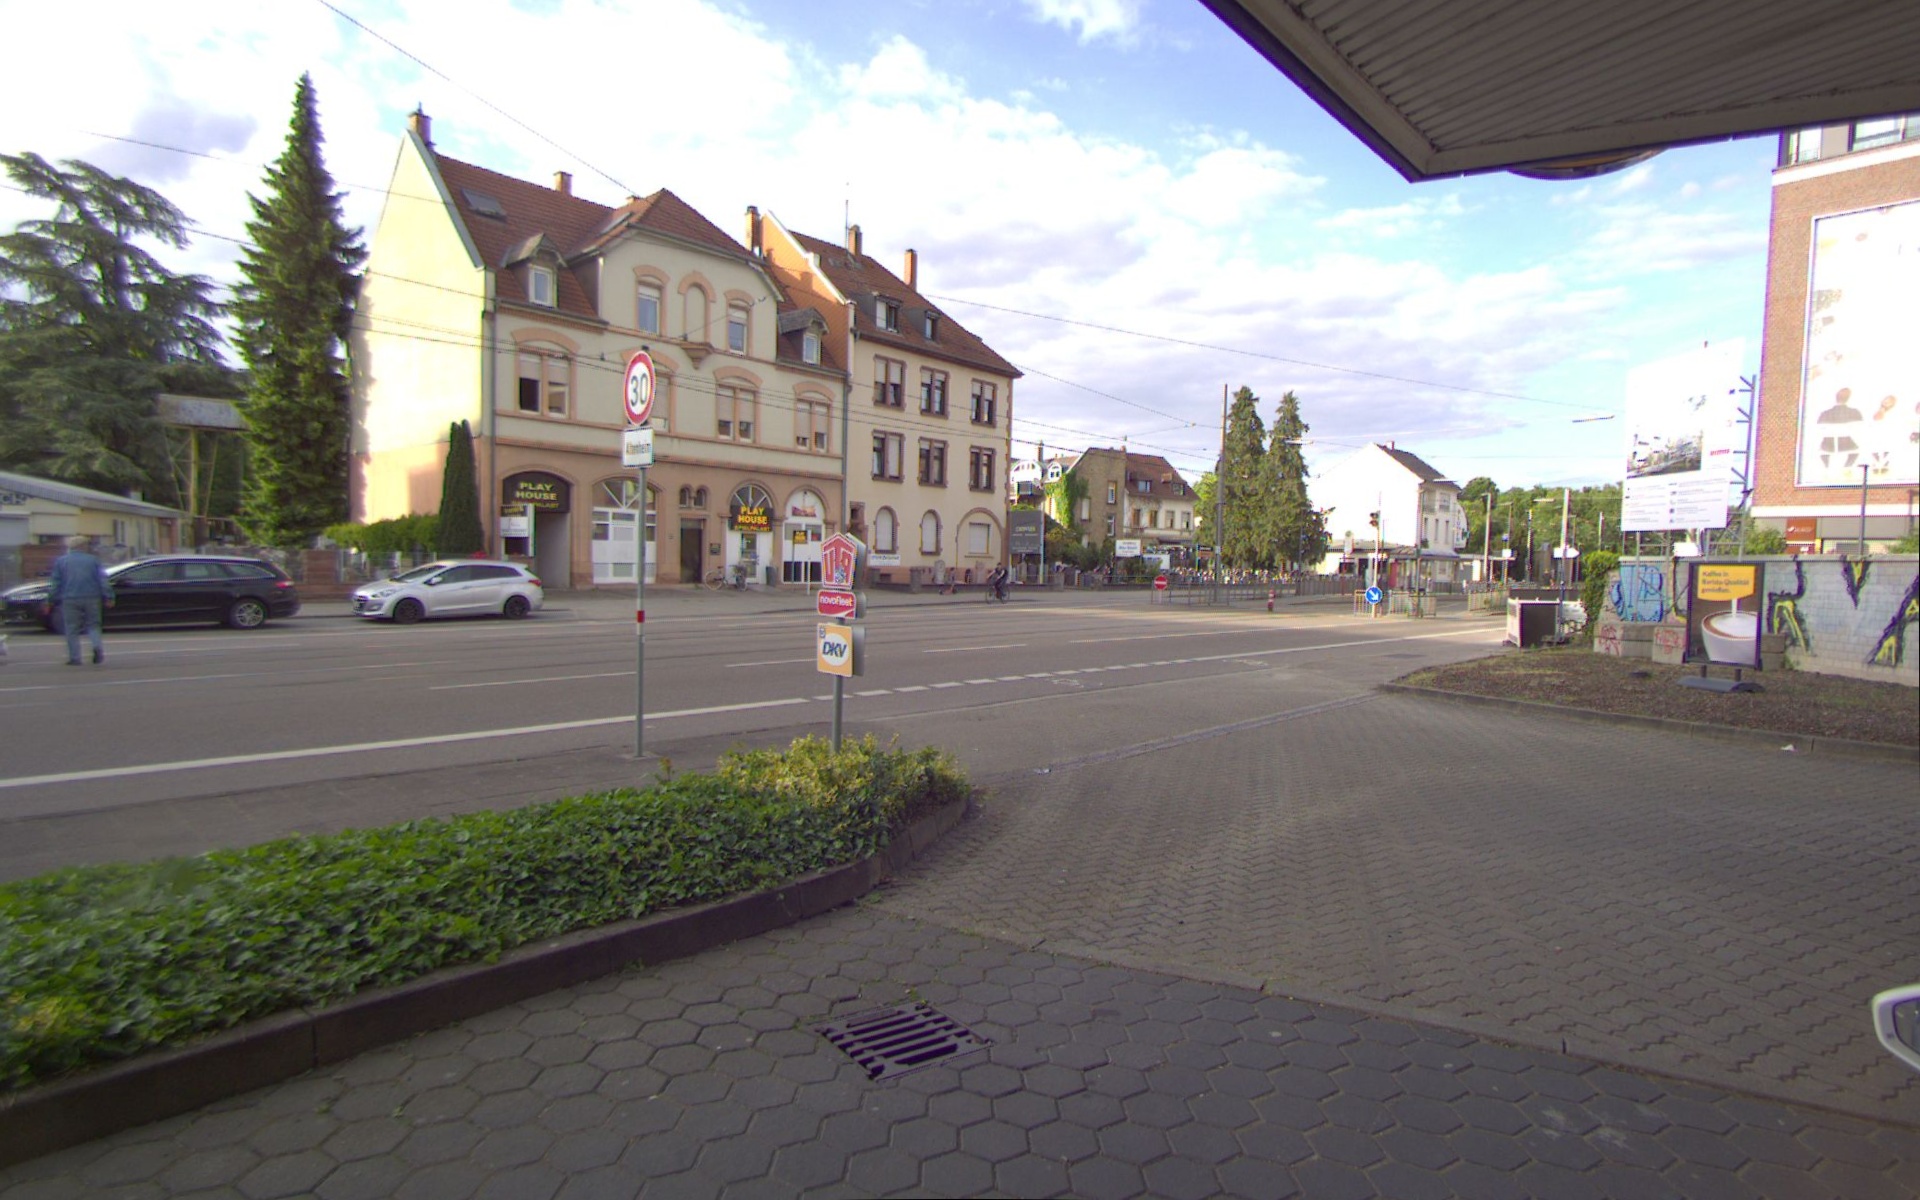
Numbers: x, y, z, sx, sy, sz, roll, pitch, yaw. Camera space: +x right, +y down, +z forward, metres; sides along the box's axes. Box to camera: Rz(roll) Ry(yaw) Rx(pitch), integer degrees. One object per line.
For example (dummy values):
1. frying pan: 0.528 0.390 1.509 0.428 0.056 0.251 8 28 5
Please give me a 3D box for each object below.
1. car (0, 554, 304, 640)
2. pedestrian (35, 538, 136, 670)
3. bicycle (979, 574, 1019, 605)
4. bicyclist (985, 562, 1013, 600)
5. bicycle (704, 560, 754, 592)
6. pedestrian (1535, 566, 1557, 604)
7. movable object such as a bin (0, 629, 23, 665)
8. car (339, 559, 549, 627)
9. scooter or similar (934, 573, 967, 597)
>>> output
1. car: -16.594 -0.132 20.744 1.983 1.520 4.755 4 4 39
2. pedestrian: -11.813 0.035 13.576 0.996 1.690 0.959 0 3 -43
3. bicycle: 1.630 -0.454 41.860 0.670 1.239 1.911 2 2 38
4. bicyclist: 1.637 -0.792 41.853 0.670 1.555 1.081 2 2 38
5. bicycle: -9.102 -0.947 39.620 0.665 1.229 1.862 4 2 41
6. pedestrian: 32.207 -0.838 55.213 0.797 2.040 0.845 2 0 44
7. movable object such as a bin: -13.166 0.645 13.741 0.670 0.426 0.478 4 3 44
8. car: -12.914 -0.228 25.366 1.699 1.503 4.434 4 4 40
9. scooter or similar: -0.431 -0.656 45.122 0.461 1.041 1.655 4 3 40
